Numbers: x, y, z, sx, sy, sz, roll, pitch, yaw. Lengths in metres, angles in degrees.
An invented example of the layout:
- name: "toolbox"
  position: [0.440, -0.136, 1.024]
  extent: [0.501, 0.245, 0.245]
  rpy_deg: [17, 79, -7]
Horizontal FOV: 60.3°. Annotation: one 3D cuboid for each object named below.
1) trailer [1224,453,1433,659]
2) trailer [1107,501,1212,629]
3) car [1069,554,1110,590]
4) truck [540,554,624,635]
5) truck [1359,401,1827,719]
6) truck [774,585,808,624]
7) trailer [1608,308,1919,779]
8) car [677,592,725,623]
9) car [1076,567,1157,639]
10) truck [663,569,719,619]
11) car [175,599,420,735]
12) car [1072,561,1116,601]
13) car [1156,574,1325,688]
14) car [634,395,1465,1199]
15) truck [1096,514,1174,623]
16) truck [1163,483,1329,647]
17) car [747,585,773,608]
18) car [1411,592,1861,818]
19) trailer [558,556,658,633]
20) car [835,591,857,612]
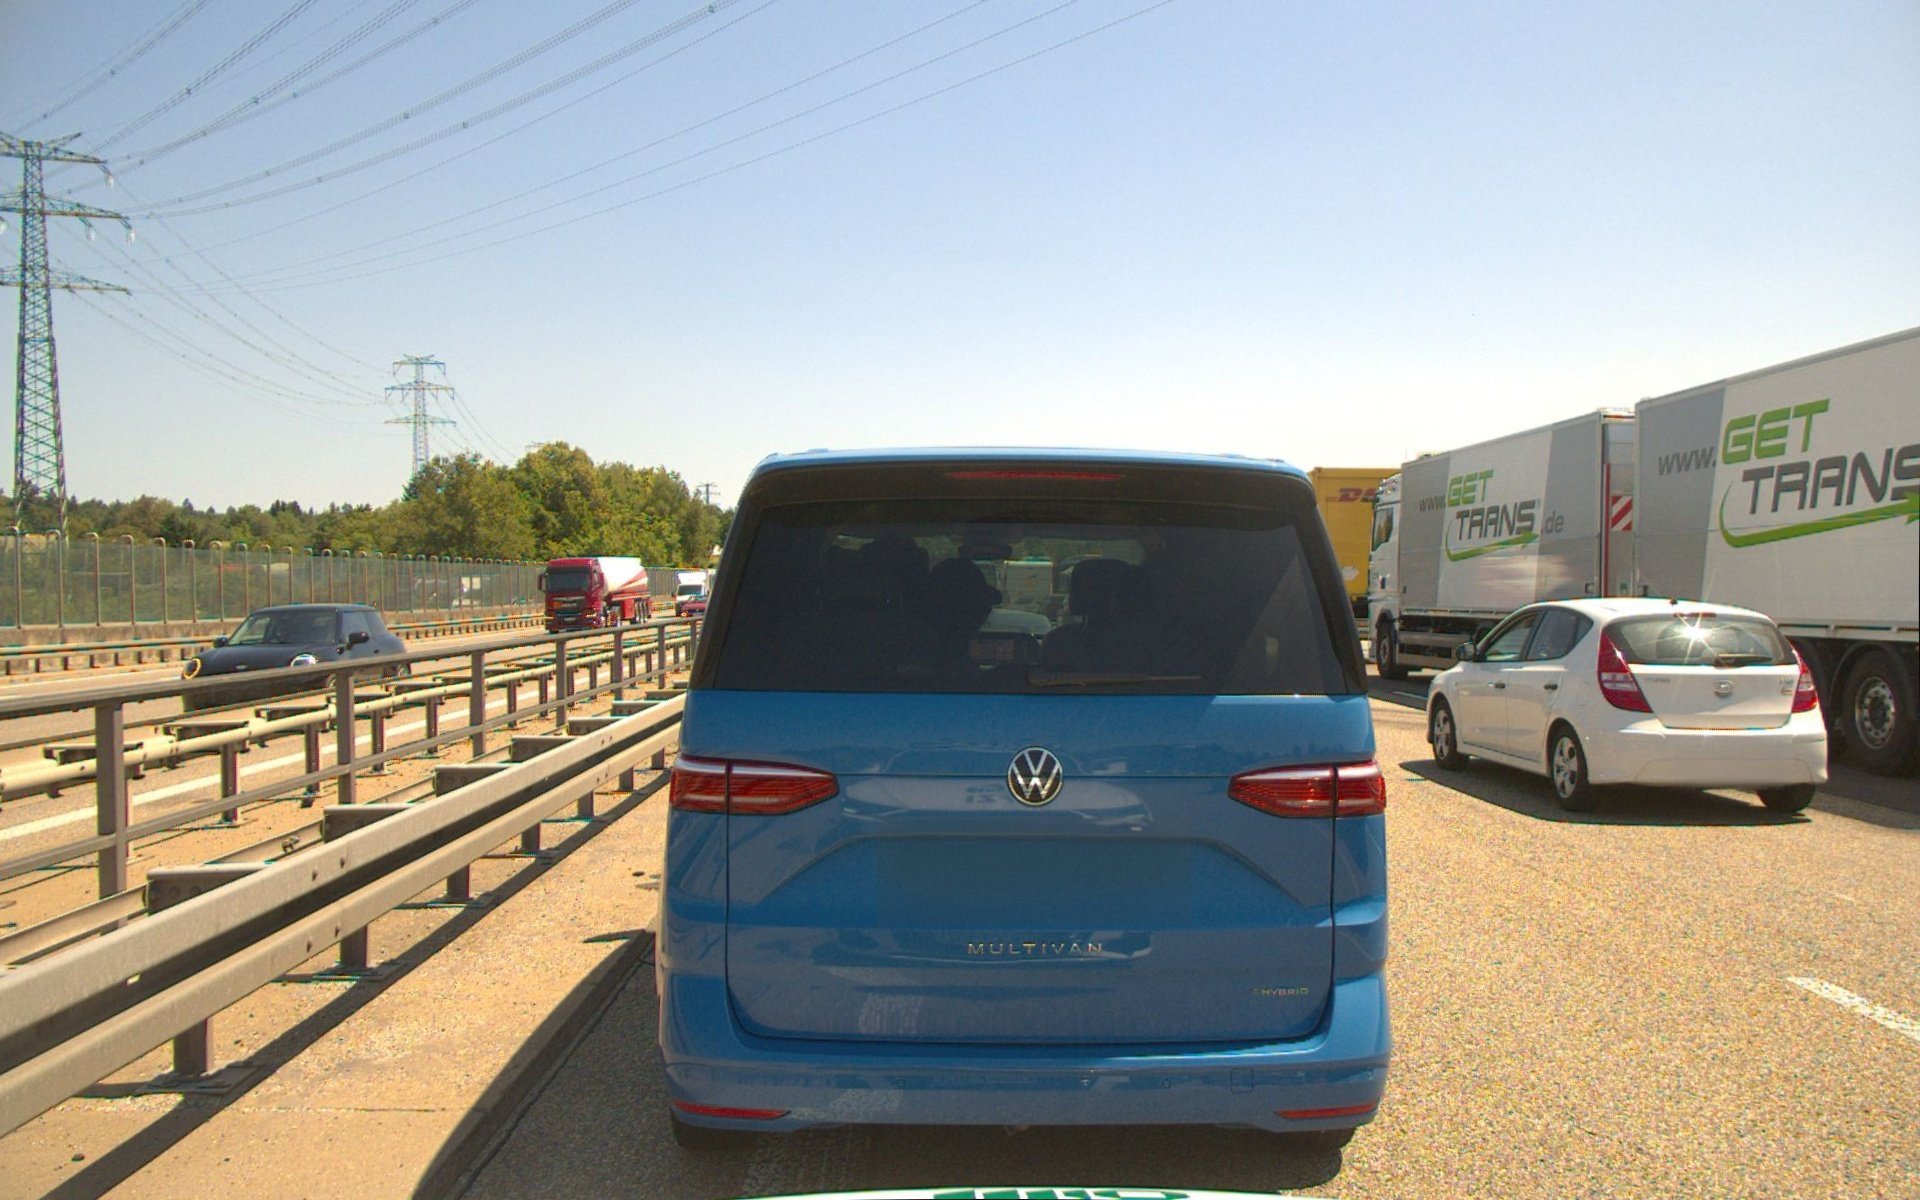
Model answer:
- name: "trailer"
  position: [8.510, -0.935, 39.490]
  extent: [2.806, 4.313, 9.009]
  rpy_deg: [1, 0, -1]
- name: "trailer"
  position: [7.740, -1.307, 65.623]
  extent: [2.583, 4.595, 11.299]
  rpy_deg: [1, 0, -1]
- name: "car"
  position: [7.572, -1.597, 96.989]
  extent: [1.953, 2.049, 4.460]
  rpy_deg: [-1, 0, -1]
- name: "truck"
  position: [-17.051, -0.252, 74.906]
  extent: [2.447, 3.424, 5.833]
  rpy_deg: [-2, 0, -1]
- name: "truck"
  position: [8.716, -0.504, 24.807]
  extent: [2.603, 3.711, 11.008]
  rpy_deg: [0, 0, -1]
- name: "truck"
  position: [-15.650, 0.379, 153.318]
  extent: [2.510, 3.418, 8.860]
  rpy_deg: [-2, 0, -2]
- name: "trailer"
  position: [8.949, -0.469, 15.287]
  extent: [2.643, 3.765, 8.013]
  rpy_deg: [0, 0, -1]
- name: "car"
  position: [-13.474, 0.381, 86.122]
  extent: [1.826, 1.469, 4.130]
  rpy_deg: [-2, 0, -1]
- name: "car"
  position: [4.551, 0.076, 48.723]
  extent: [1.922, 2.028, 4.292]
  rpy_deg: [0, 0, -1]
- name: "truck"
  position: [-18.448, -0.402, 113.989]
  extent: [2.468, 3.164, 8.720]
  rpy_deg: [-3, 0, -2]
- name: "car"
  position: [-8.225, 0.763, 20.882]
  extent: [1.586, 1.489, 3.701]
  rpy_deg: [-2, 0, -1]
- name: "car"
  position: [6.990, -0.963, 86.592]
  extent: [1.953, 2.049, 3.999]
  rpy_deg: [1, 0, -1]
- name: "car"
  position: [4.378, 0.441, 26.448]
  extent: [1.922, 1.673, 4.292]
  rpy_deg: [0, 0, -1]
- name: "car"
  position: [0.174, 0.512, 5.632]
  extent: [1.783, 1.890, 4.074]
  rpy_deg: [1, 0, -1]
- name: "truck"
  position: [7.647, -1.326, 73.006]
  extent: [2.613, 4.562, 6.848]
  rpy_deg: [1, 0, -1]
- name: "truck"
  position: [8.286, -0.951, 49.493]
  extent: [2.778, 4.317, 11.008]
  rpy_deg: [1, 0, -1]
- name: "car"
  position: [-19.950, -0.411, 165.382]
  extent: [2.040, 2.187, 4.311]
  rpy_deg: [-2, 1, -1]
- name: "car"
  position: [5.059, 0.684, 13.079]
  extent: [1.752, 1.481, 4.292]
  rpy_deg: [0, 0, -1]
- name: "trailer"
  position: [-17.223, -0.281, 81.714]
  extent: [2.430, 3.402, 12.070]
  rpy_deg: [-2, 0, -1]
- name: "car"
  position: [-11.080, 0.148, 161.001]
  extent: [1.953, 2.049, 4.311]
  rpy_deg: [1, 0, -1]
